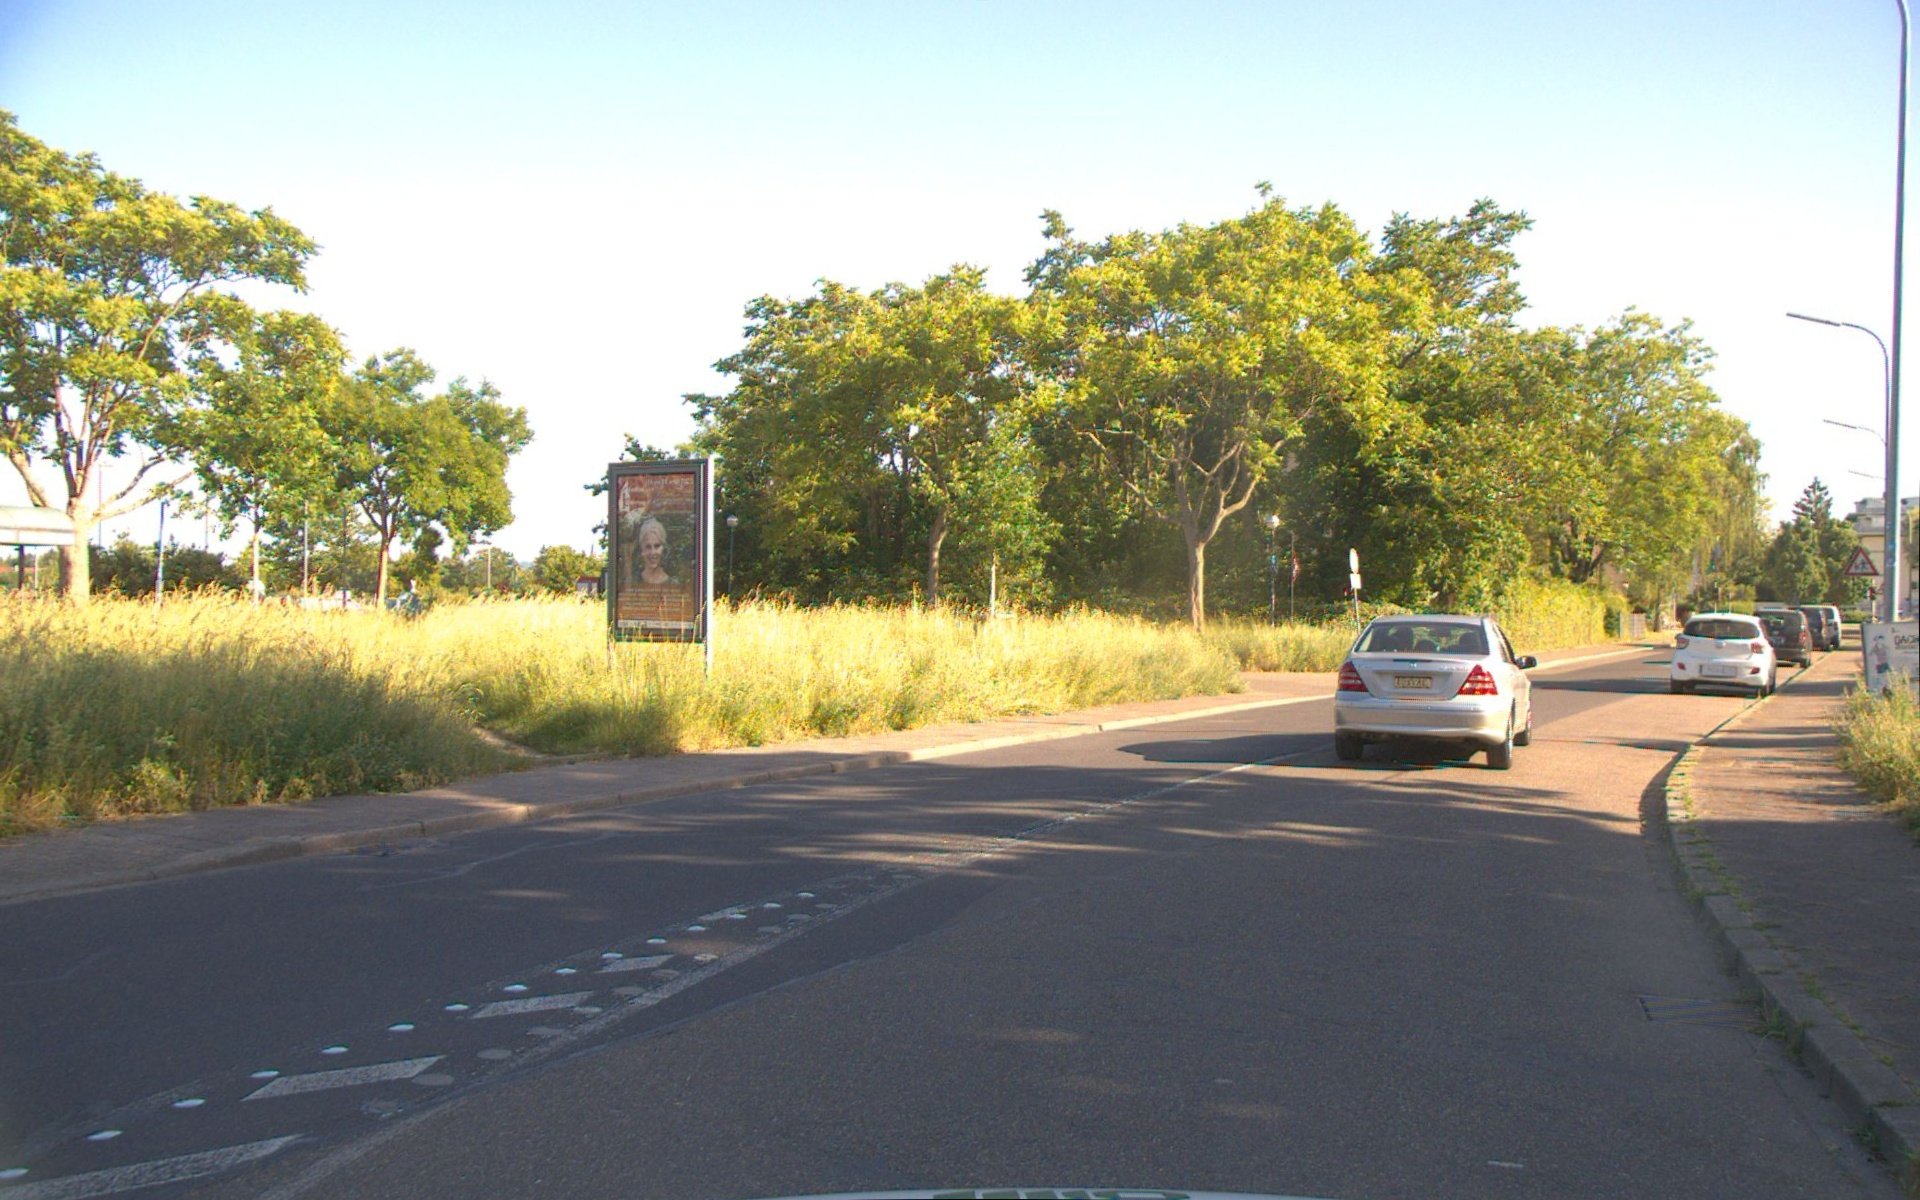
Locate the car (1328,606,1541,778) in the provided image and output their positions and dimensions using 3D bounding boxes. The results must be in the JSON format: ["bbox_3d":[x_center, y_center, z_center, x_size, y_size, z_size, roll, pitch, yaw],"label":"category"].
[{"bbox_3d":[5.035,0.831,17.162,1.779,1.489,4.361,1,0,20],"label":"car"}]

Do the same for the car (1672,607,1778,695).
[{"bbox_3d":[14.638,0.934,31.582,1.688,1.505,3.737,2,0,26],"label":"car"}]

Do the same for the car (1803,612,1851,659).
[{"bbox_3d":[35.766,1.427,68.191,1.666,1.790,3.844,2,1,29],"label":"car"}]

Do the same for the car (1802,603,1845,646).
[{"bbox_3d":[40.362,1.128,77.240,1.666,1.884,3.844,2,1,29],"label":"car"}]

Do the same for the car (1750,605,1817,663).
[{"bbox_3d":[24.410,0.972,48.965,1.666,1.639,3.995,-1,0,28],"label":"car"}]
